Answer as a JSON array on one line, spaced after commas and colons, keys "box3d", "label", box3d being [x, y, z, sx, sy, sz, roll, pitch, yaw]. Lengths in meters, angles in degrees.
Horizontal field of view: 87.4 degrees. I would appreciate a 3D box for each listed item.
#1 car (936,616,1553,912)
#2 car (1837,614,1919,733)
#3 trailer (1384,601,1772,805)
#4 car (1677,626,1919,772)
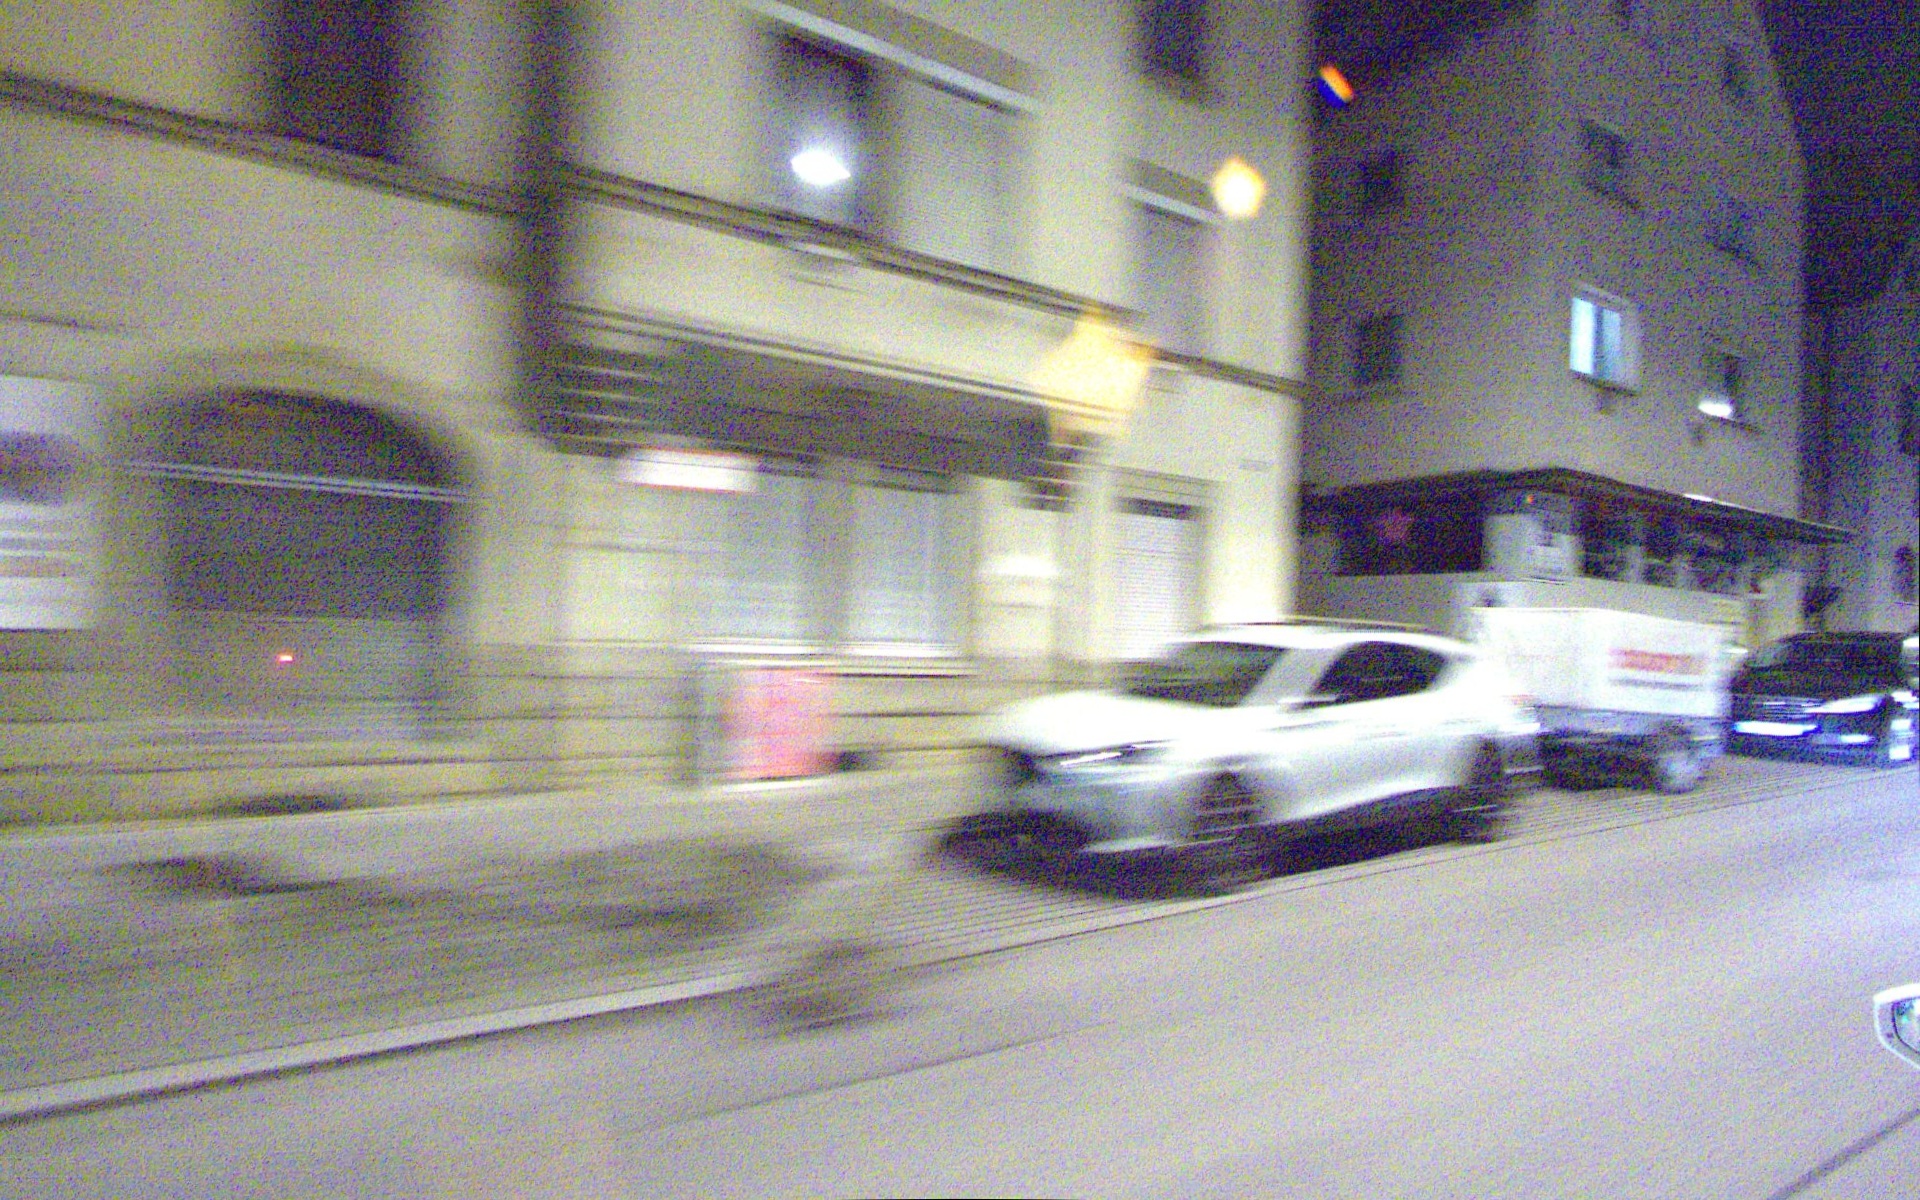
[{"box3d": [2.132, 0.896, 7.111, 4.299, 1.504, 1.804, 1, 0, -32], "label": "car"}, {"box3d": [15.304, 1.060, 15.130, 4.491, 1.640, 1.826, 1, 0, -30], "label": "car"}, {"box3d": [5.990, 0.892, 9.734, 3.394, 1.661, 1.632, 2, 0, -26], "label": "trailer"}, {"box3d": [10.960, 1.085, 12.434, 4.493, 1.466, 1.825, 0, -1, -32], "label": "car"}]
